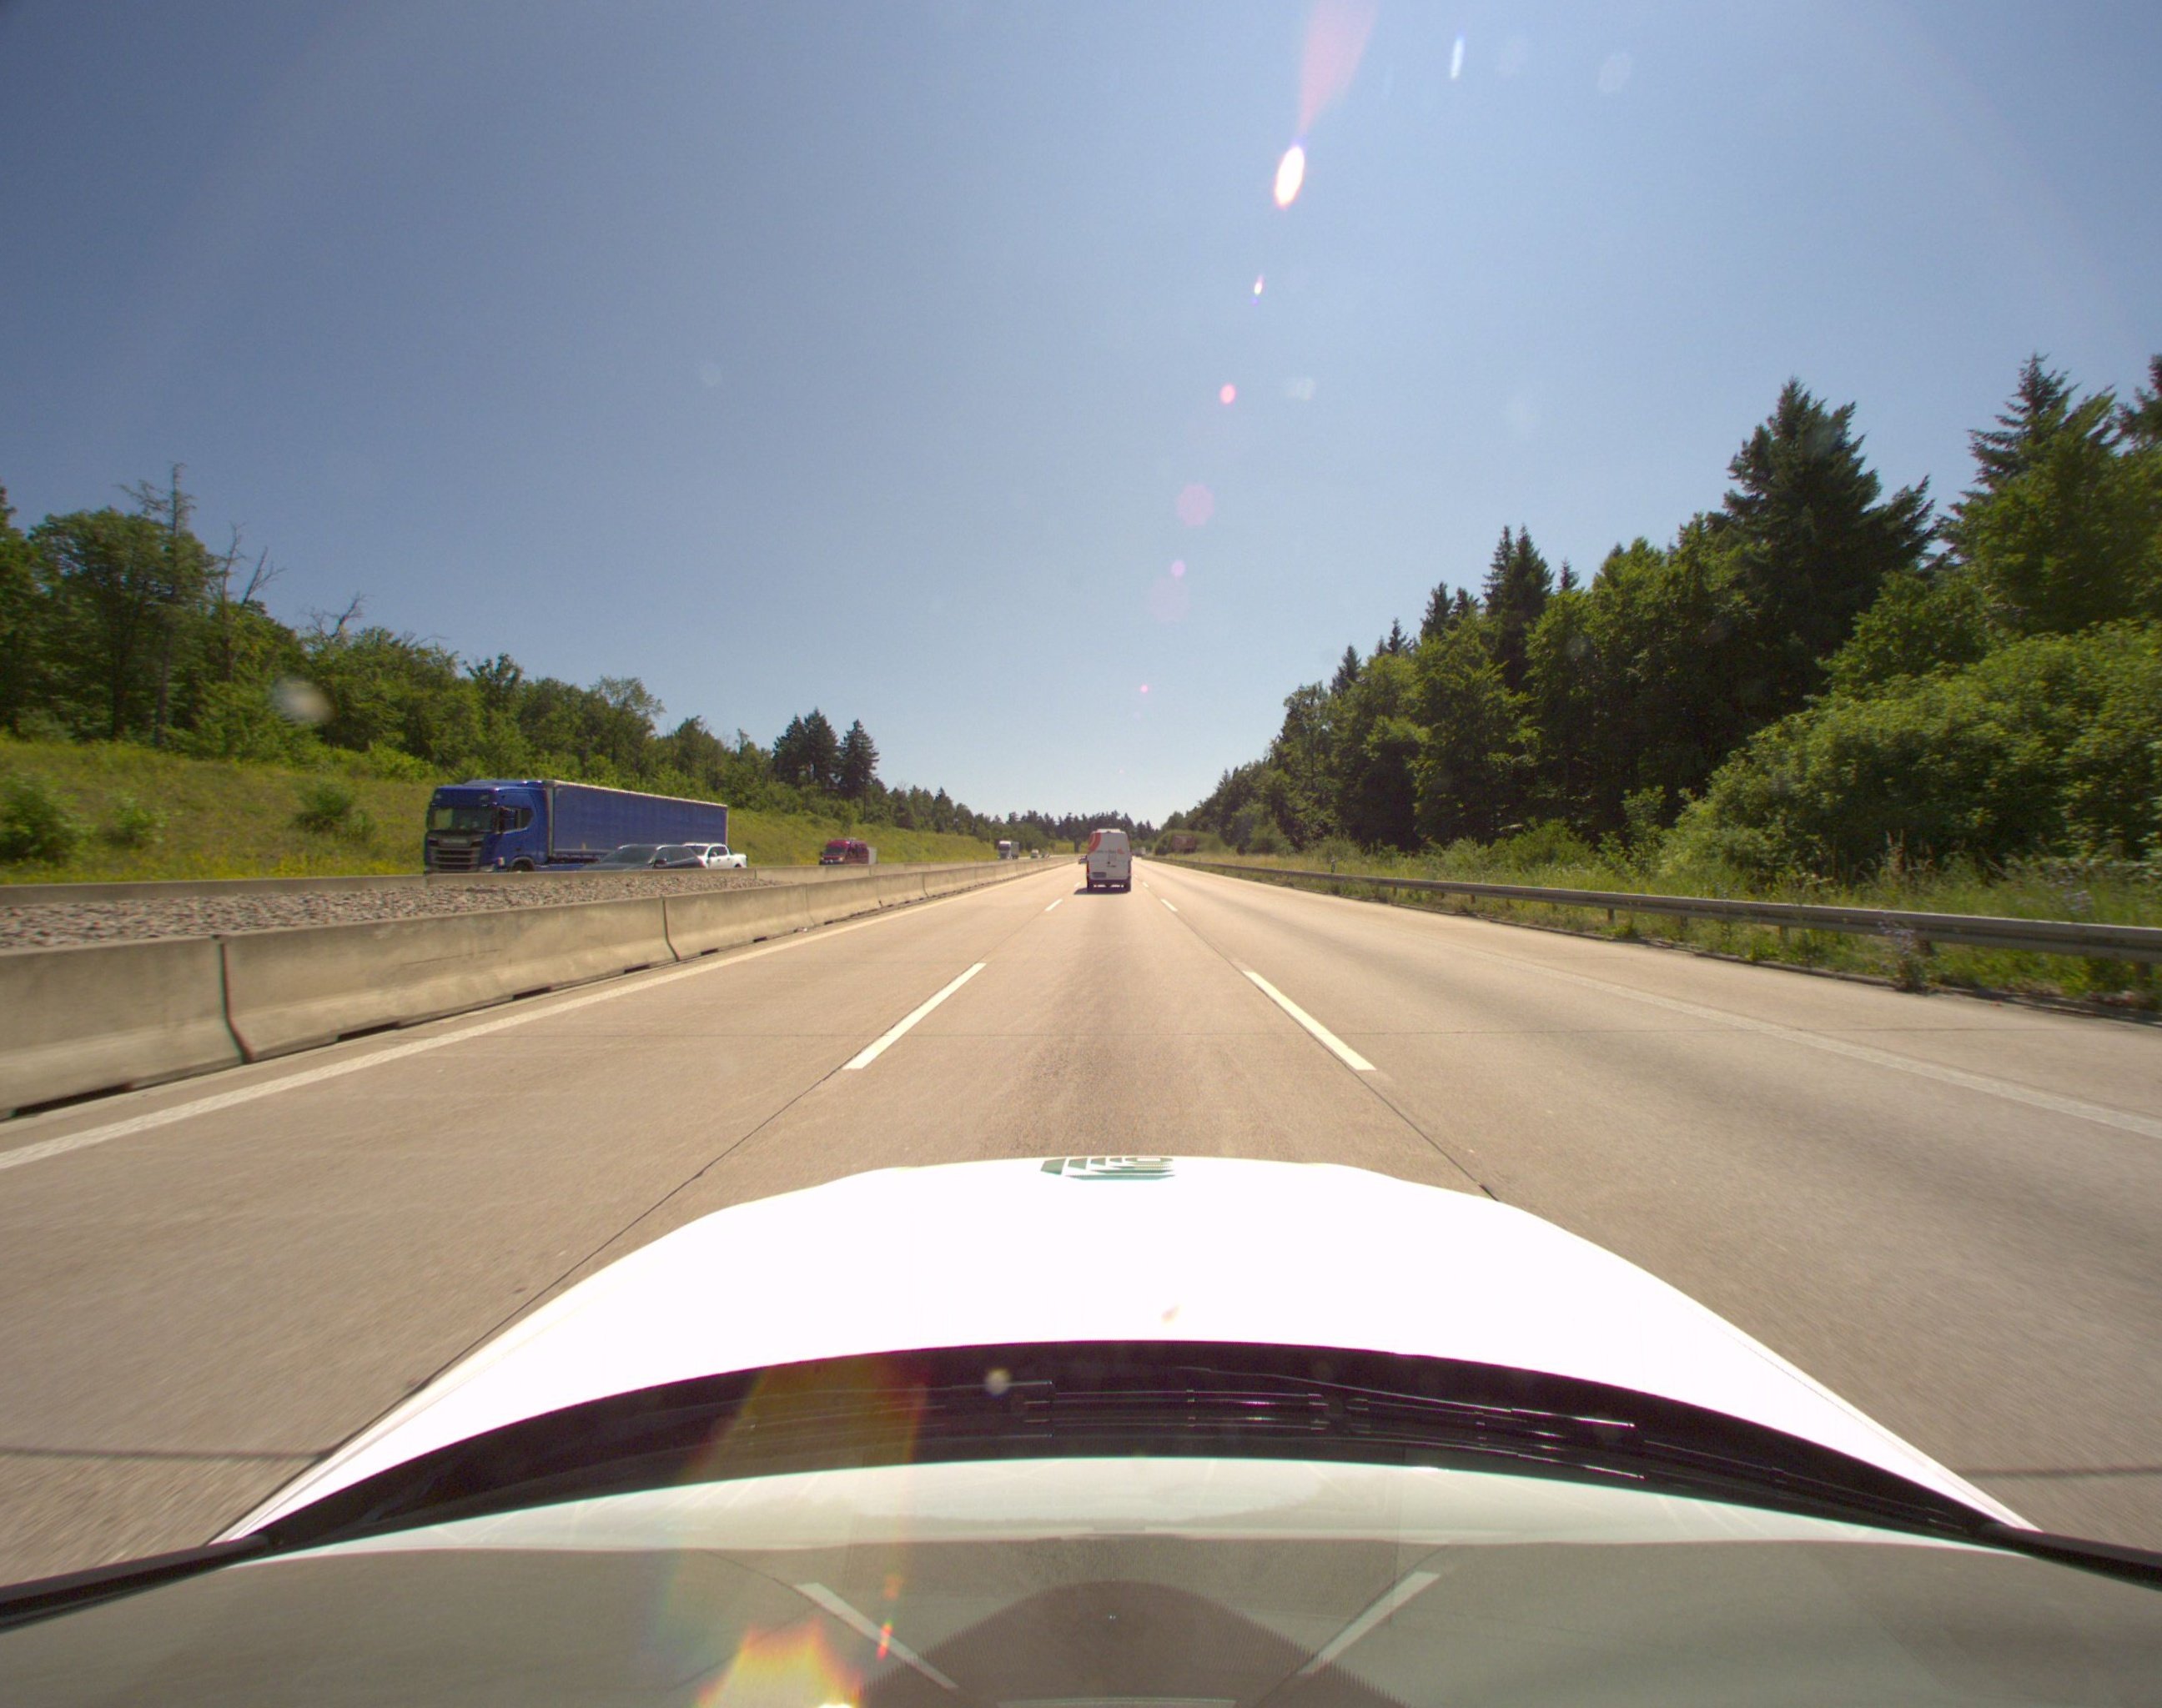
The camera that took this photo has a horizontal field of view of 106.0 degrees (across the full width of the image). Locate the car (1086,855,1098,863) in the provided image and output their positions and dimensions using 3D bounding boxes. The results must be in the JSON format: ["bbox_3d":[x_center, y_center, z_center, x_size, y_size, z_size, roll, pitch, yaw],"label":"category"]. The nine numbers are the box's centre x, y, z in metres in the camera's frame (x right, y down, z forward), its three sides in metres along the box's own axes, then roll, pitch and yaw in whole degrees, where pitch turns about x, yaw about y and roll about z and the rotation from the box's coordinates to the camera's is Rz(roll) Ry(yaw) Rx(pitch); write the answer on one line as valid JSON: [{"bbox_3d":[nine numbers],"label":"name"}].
[{"bbox_3d":[2.309,1.004,171.137,1.983,1.684,4.007,0,-1,6],"label":"car"}]

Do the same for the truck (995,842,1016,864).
[{"bbox_3d":[-15.770,-0.114,170.837,3.244,4.504,7.990,0,-1,2],"label":"truck"}]

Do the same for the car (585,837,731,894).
[{"bbox_3d":[-12.662,0.328,24.777,1.985,1.583,4.405,0,0,2],"label":"car"}]

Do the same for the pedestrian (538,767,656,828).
[{"bbox_3d":[-18.405,-2.101,31.195,1.986,2.014,4.002,0,-1,2],"label":"pedestrian"}]

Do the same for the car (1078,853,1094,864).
[{"bbox_3d":[0.755,0.680,124.035,1.983,1.684,4.007,0,-1,6],"label":"car"}]

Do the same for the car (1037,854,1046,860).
[{"bbox_3d":[-10.332,0.724,215.417,1.985,1.583,4.045,0,0,2],"label":"car"}]

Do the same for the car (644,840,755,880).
[{"bbox_3d":[-16.311,0.244,35.182,1.985,1.583,5.522,0,0,2],"label":"car"}]

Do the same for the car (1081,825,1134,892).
[{"bbox_3d":[1.213,0.198,37.326,2.218,2.844,5.456,0,0,2],"label":"car"}]

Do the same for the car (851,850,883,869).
[{"bbox_3d":[-18.463,0.490,70.375,1.608,1.600,3.578,-2,-1,2],"label":"car"}]

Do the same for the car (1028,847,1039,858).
[{"bbox_3d":[-11.124,-0.348,191.262,1.985,2.485,5.182,0,0,2],"label":"car"}]

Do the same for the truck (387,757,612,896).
[{"bbox_3d":[-20.765,-0.877,29.738,3.244,4.504,6.578,0,-1,2],"label":"truck"}]

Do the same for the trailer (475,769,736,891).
[{"bbox_3d":[-20.443,-0.809,36.904,3.243,4.504,13.746,0,-1,2],"label":"trailer"}]

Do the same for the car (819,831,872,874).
[{"bbox_3d":[-18.587,-0.115,64.690,1.986,3.241,7.063,0,0,2],"label":"car"}]
